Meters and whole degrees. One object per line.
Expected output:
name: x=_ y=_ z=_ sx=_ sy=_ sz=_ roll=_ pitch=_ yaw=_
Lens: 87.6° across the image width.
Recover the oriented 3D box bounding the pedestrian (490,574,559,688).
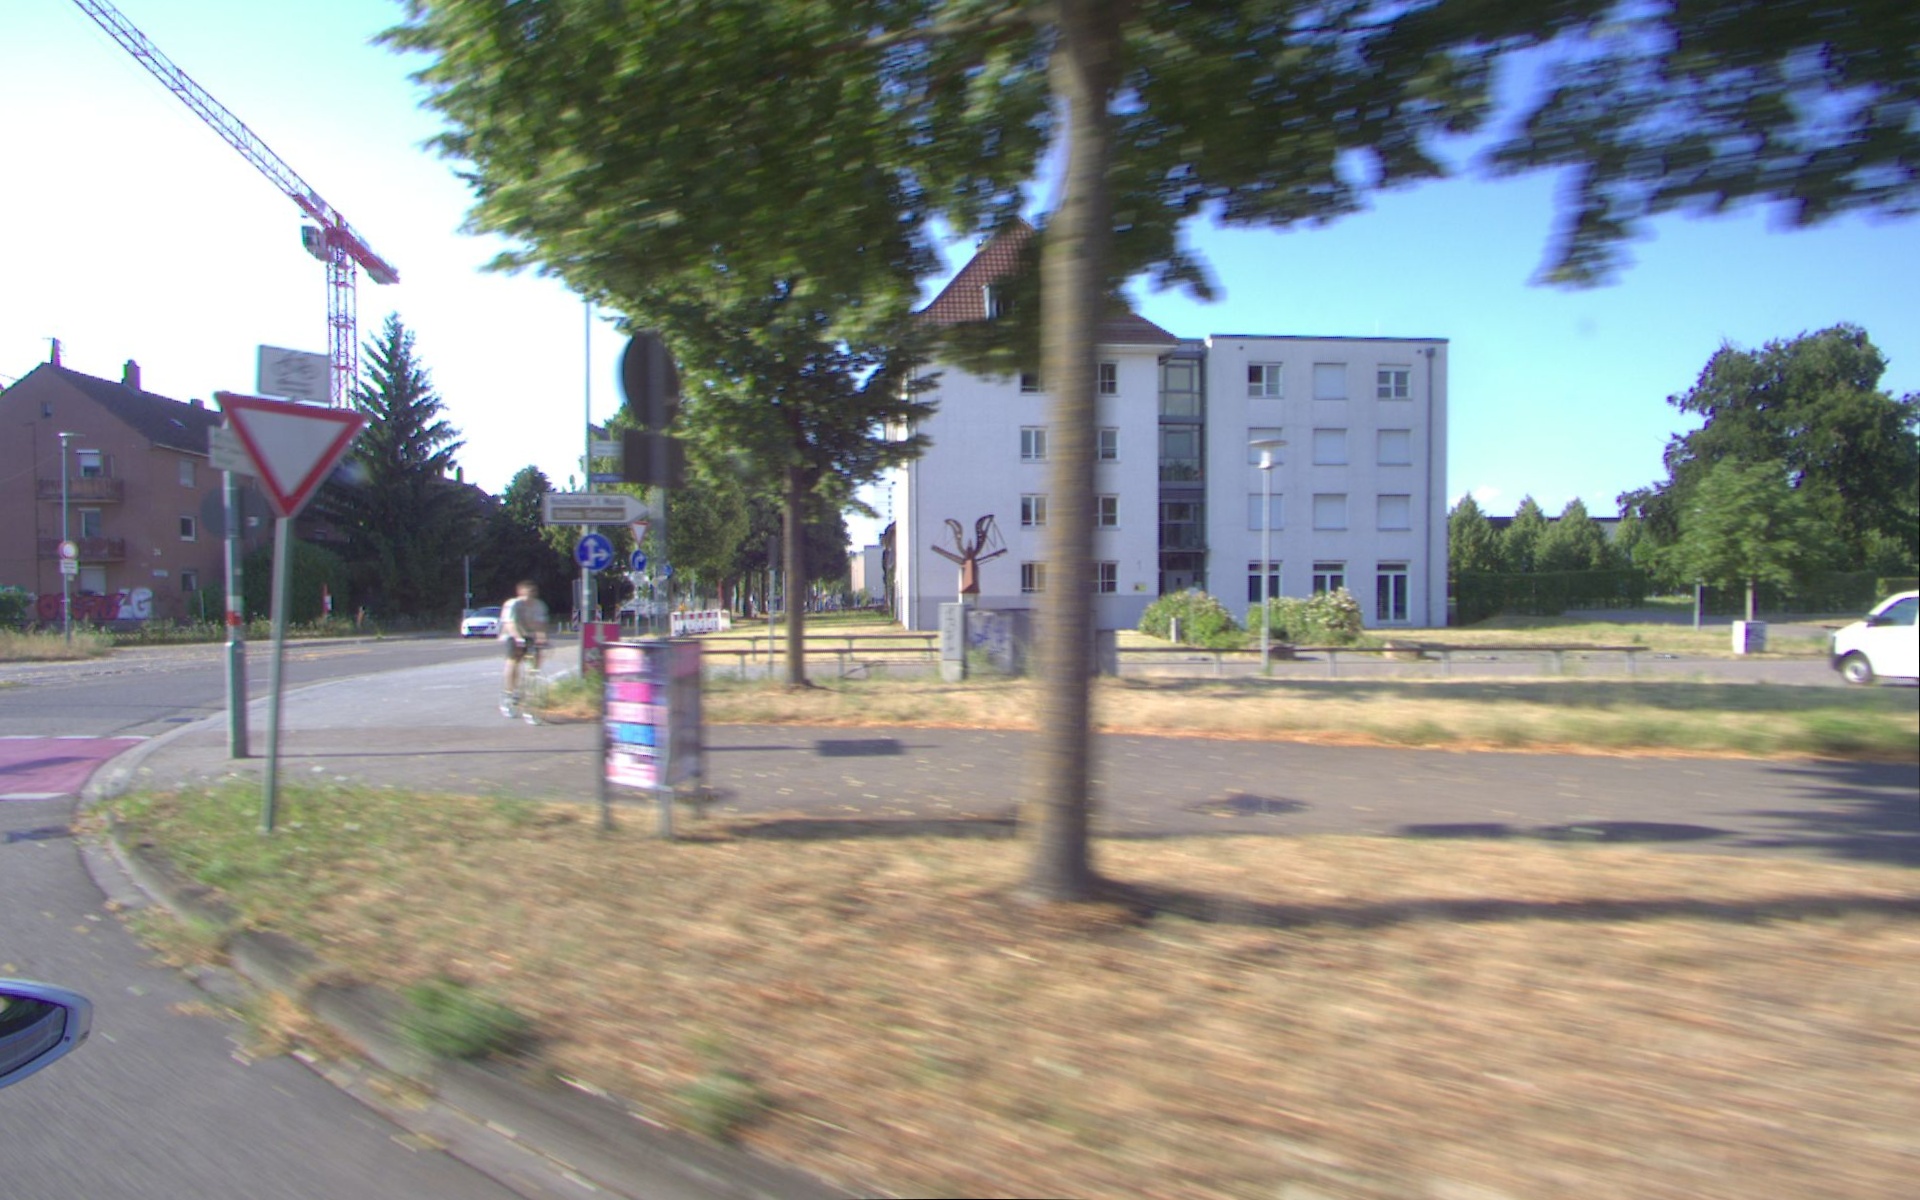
pedestrian: x=-5.678 y=0.387 z=13.043 sx=0.644 sy=1.410 sz=0.762 roll=-3 pitch=2 yaw=-35

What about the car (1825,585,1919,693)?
car: x=19.331 y=0.721 z=18.331 sx=2.225 sy=2.040 sz=5.218 roll=0 pitch=-1 yaw=-5

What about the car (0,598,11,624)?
car: x=-57.838 y=0.654 z=57.992 sx=3.951 sy=1.550 sz=1.985 roll=-1 pitch=1 yaw=-37

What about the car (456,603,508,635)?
car: x=-22.862 y=0.893 z=47.839 sx=1.742 sy=1.440 sz=3.600 roll=1 pitch=0 yaw=-34

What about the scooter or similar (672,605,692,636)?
scooter or similar: x=-11.796 y=0.853 z=42.481 sx=0.550 sy=1.309 sz=1.462 roll=0 pitch=0 yaw=-4

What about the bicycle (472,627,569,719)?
bicycle: x=-5.755 y=0.908 z=13.068 sx=0.529 sy=1.070 sz=1.895 roll=-3 pitch=2 yaw=-43
